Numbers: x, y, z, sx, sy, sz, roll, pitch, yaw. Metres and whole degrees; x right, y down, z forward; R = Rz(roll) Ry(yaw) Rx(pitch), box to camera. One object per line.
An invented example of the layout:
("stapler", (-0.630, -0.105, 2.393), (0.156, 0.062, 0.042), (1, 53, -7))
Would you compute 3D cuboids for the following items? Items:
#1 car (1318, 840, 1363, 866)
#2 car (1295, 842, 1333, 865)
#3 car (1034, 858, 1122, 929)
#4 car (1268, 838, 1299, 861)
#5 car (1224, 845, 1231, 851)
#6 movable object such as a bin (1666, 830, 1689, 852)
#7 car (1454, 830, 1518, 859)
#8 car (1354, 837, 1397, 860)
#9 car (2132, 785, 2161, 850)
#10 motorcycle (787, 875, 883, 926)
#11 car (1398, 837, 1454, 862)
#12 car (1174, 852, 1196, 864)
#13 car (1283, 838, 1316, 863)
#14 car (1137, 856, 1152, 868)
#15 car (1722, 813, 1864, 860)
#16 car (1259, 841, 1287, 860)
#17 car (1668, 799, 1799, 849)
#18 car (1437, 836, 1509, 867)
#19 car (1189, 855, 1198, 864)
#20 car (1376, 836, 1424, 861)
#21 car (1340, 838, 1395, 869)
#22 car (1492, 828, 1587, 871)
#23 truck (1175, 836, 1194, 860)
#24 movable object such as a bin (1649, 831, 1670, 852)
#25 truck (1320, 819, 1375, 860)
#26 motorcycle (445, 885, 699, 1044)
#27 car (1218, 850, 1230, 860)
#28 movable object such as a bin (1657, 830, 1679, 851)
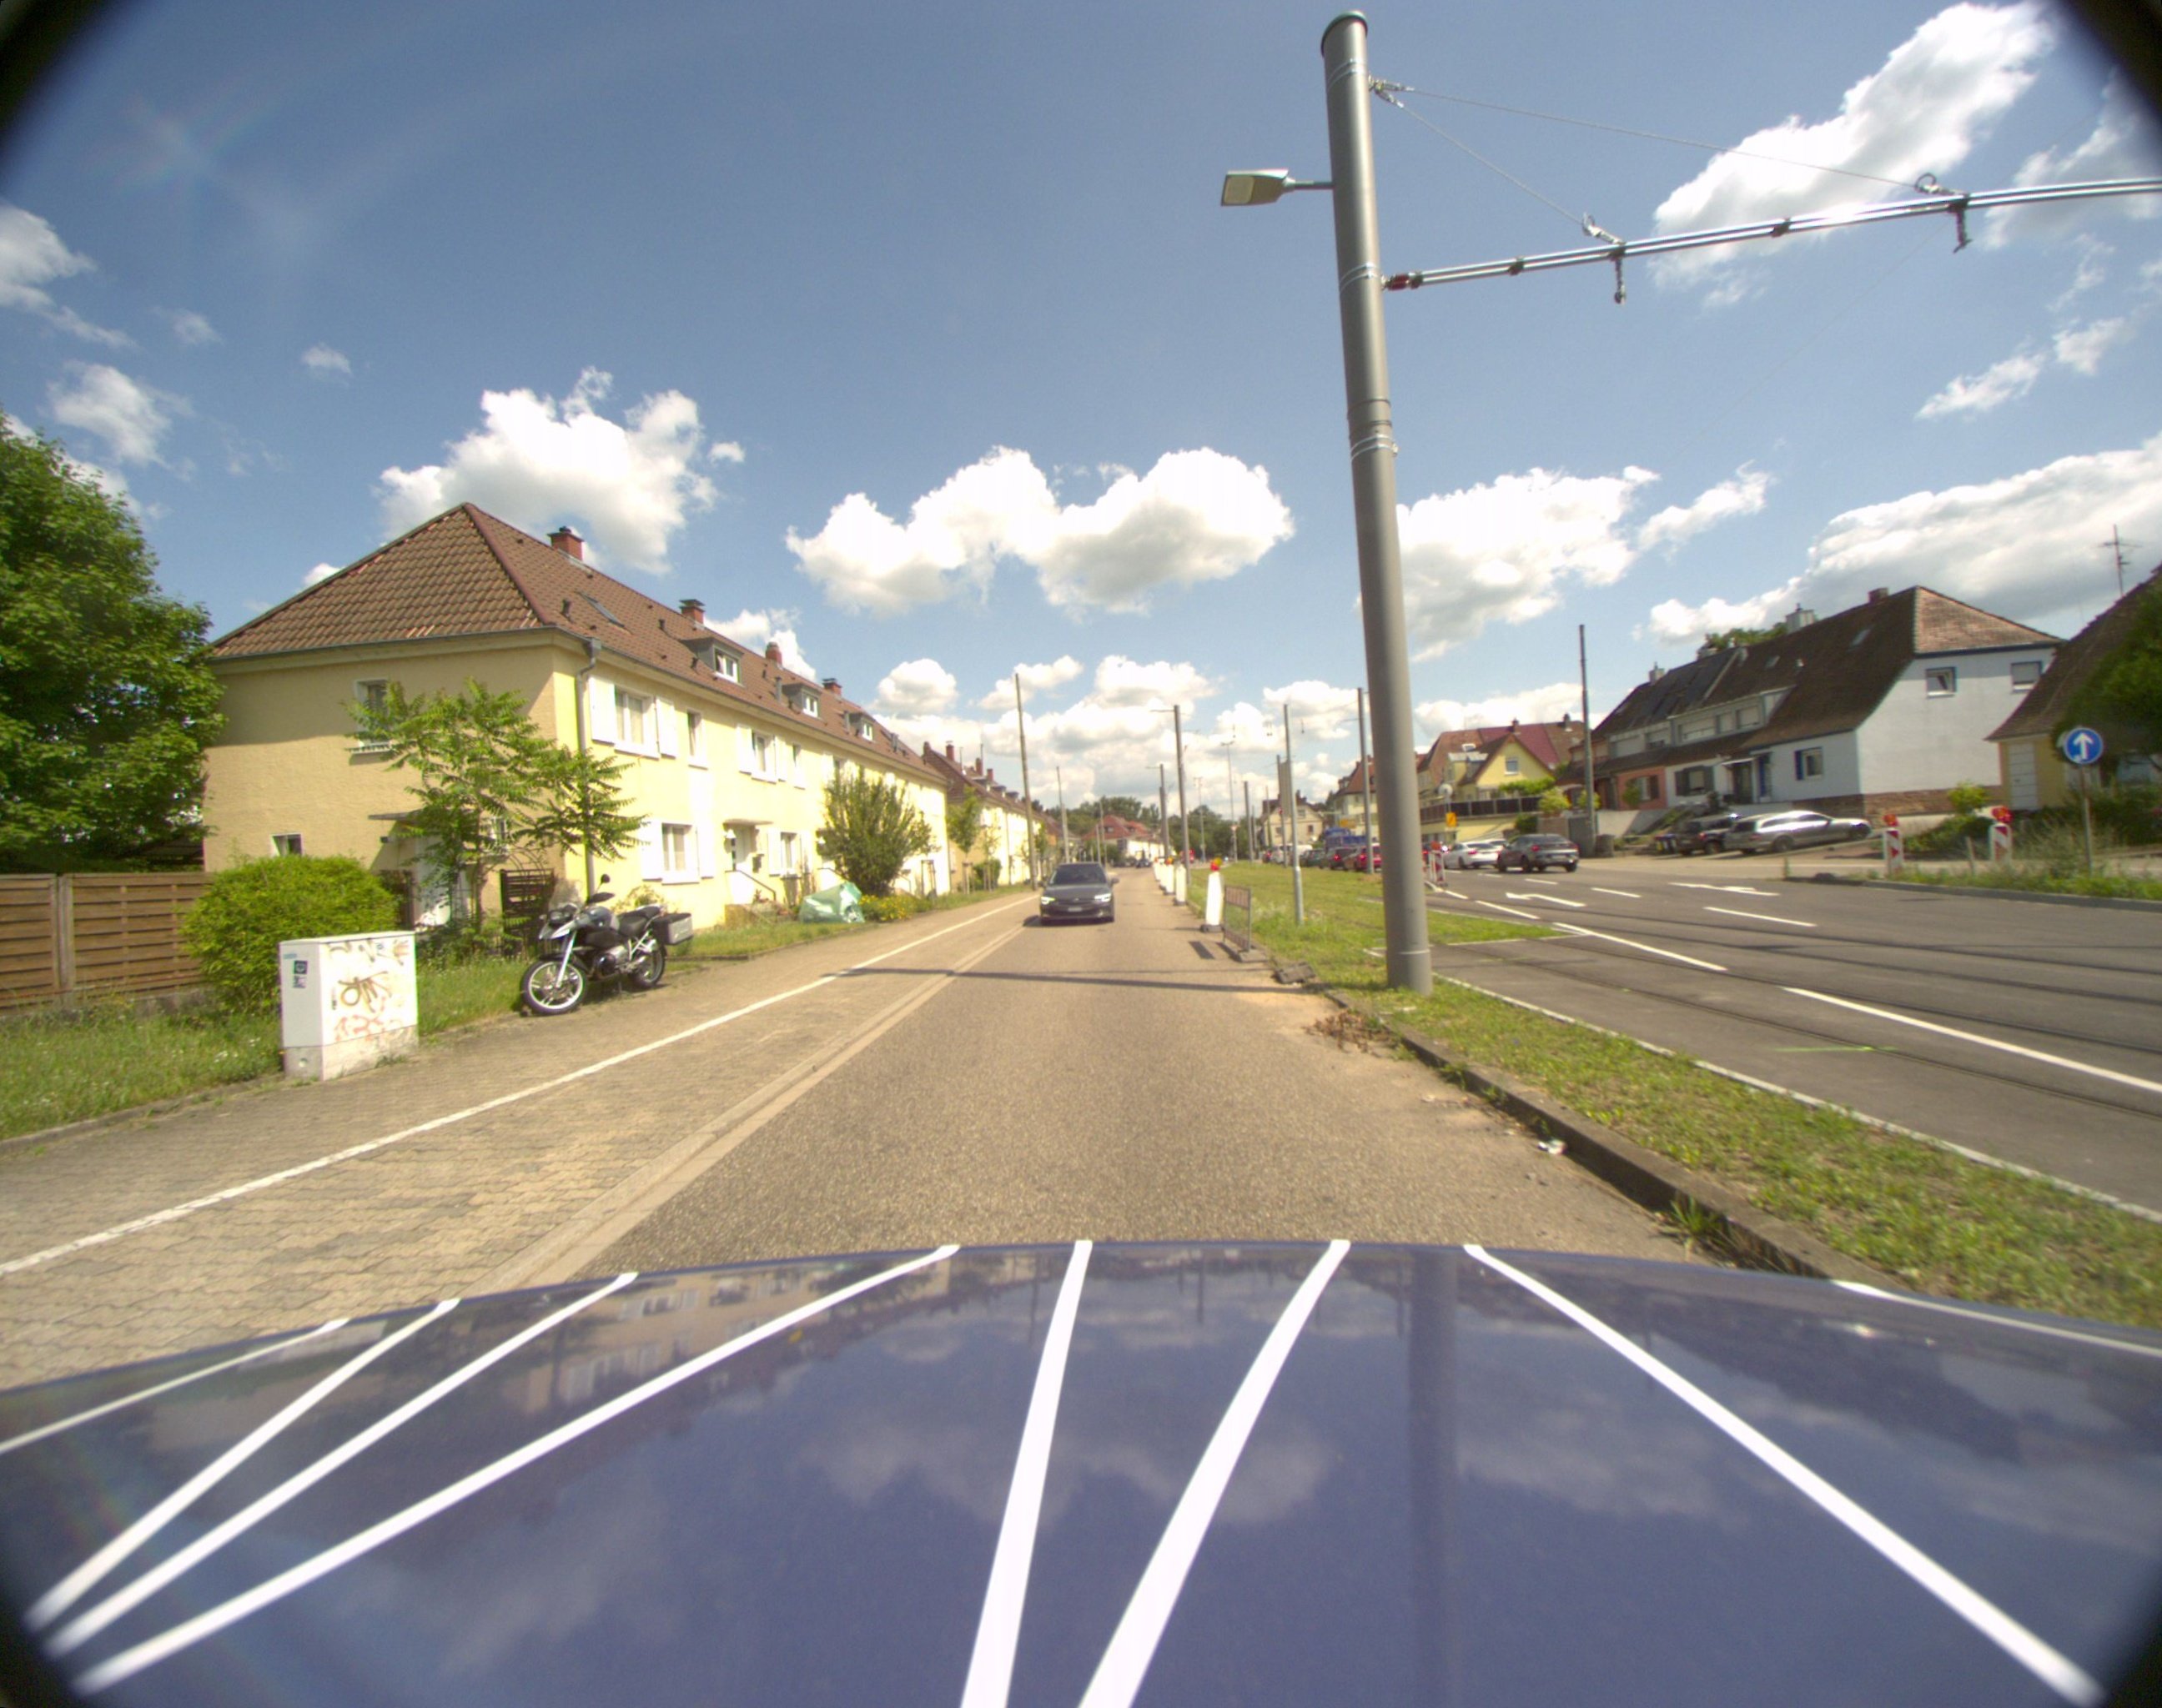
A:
("car", (16.970, -0.080, 49.940), (1.729, 1.553, 4.646), (-4, 0, 6))
("car", (17.428, -0.073, 56.945), (1.729, 1.553, 4.543), (-4, 0, 5))
("car", (0.049, 0.910, 19.500), (1.742, 1.513, 4.703), (-1, 0, 6))
("car", (18.972, -0.402, 71.261), (1.922, 1.953, 4.543), (-4, 0, 5))
("car", (41.197, -1.635, 213.690), (1.721, 1.582, 4.174), (-3, 0, 7))
("movable object such as a bin", (27.134, -0.596, 34.584), (0.517, 0.947, 0.610), (-4, 0, 4))
("car", (24.264, -0.543, 45.748), (1.729, 1.553, 4.543), (-4, 0, 6))
("car", (22.495, -0.401, 58.169), (1.729, 1.553, 4.543), (-4, 0, 5))
("car", (27.215, -0.972, 17.273), (3.892, 1.535, 1.707), (-4, 0, 6))
("motorcycle", (-6.555, 1.226, 20.309), (2.232, 1.190, 0.854), (-4, 0, 6))
("car", (20.432, -0.251, 45.185), (1.729, 1.327, 4.544), (-4, 0, 8))
("car", (17.541, 0.699, 127.932), (2.286, 1.861, 4.982), (-4, 0, -8))
("car", (18.222, -0.290, 63.623), (1.729, 1.843, 4.543), (-4, 0, 5))
("car", (8.717, 1.073, 104.057), (1.879, 1.543, 4.986), (-4, 0, 4))
("car", (27.921, -0.659, 29.878), (3.887, 1.546, 1.682), (-4, 0, 2))
("car", (19.568, -0.386, 77.476), (1.922, 1.770, 4.543), (-4, 0, 5))
("car", (28.108, -1.265, 32.820), (3.996, 1.835, 1.802), (-4, 0, 2))
("car", (19.544, -0.133, 38.104), (1.729, 1.327, 4.544), (-4, 0, 8))
("car", (28.399, 1.333, 191.333), (2.059, 1.996, 4.952), (-3, 0, 9))
("car", (21.631, -0.357, 51.713), (1.729, 1.553, 4.543), (-4, 0, 6))
("car", (16.124, -0.031, 42.997), (1.729, 1.553, 4.543), (-4, 0, 6))
("car", (18.677, -0.177, 31.212), (1.728, 1.518, 4.774), (-4, 0, 11))
("truck", (23.813, -1.419, 174.557), (3.474, 5.153, 14.227), (-4, 0, 10))
("movable object such as a bin", (27.211, -0.605, 35.761), (0.517, 0.947, 0.583), (-4, 0, 4))
("truck", (23.193, -1.217, 66.506), (2.841, 3.135, 7.938), (-4, 0, 8))
("motorcycle", (-5.689, 1.153, 8.811), (1.049, 1.461, 2.585), (-1, 0, 4))
("car", (30.543, 0.251, 161.883), (2.283, 1.861, 4.989), (-4, 0, 12))
("movable object such as a bin", (27.173, -0.612, 35.179), (0.517, 0.947, 0.583), (-4, 0, 4))
